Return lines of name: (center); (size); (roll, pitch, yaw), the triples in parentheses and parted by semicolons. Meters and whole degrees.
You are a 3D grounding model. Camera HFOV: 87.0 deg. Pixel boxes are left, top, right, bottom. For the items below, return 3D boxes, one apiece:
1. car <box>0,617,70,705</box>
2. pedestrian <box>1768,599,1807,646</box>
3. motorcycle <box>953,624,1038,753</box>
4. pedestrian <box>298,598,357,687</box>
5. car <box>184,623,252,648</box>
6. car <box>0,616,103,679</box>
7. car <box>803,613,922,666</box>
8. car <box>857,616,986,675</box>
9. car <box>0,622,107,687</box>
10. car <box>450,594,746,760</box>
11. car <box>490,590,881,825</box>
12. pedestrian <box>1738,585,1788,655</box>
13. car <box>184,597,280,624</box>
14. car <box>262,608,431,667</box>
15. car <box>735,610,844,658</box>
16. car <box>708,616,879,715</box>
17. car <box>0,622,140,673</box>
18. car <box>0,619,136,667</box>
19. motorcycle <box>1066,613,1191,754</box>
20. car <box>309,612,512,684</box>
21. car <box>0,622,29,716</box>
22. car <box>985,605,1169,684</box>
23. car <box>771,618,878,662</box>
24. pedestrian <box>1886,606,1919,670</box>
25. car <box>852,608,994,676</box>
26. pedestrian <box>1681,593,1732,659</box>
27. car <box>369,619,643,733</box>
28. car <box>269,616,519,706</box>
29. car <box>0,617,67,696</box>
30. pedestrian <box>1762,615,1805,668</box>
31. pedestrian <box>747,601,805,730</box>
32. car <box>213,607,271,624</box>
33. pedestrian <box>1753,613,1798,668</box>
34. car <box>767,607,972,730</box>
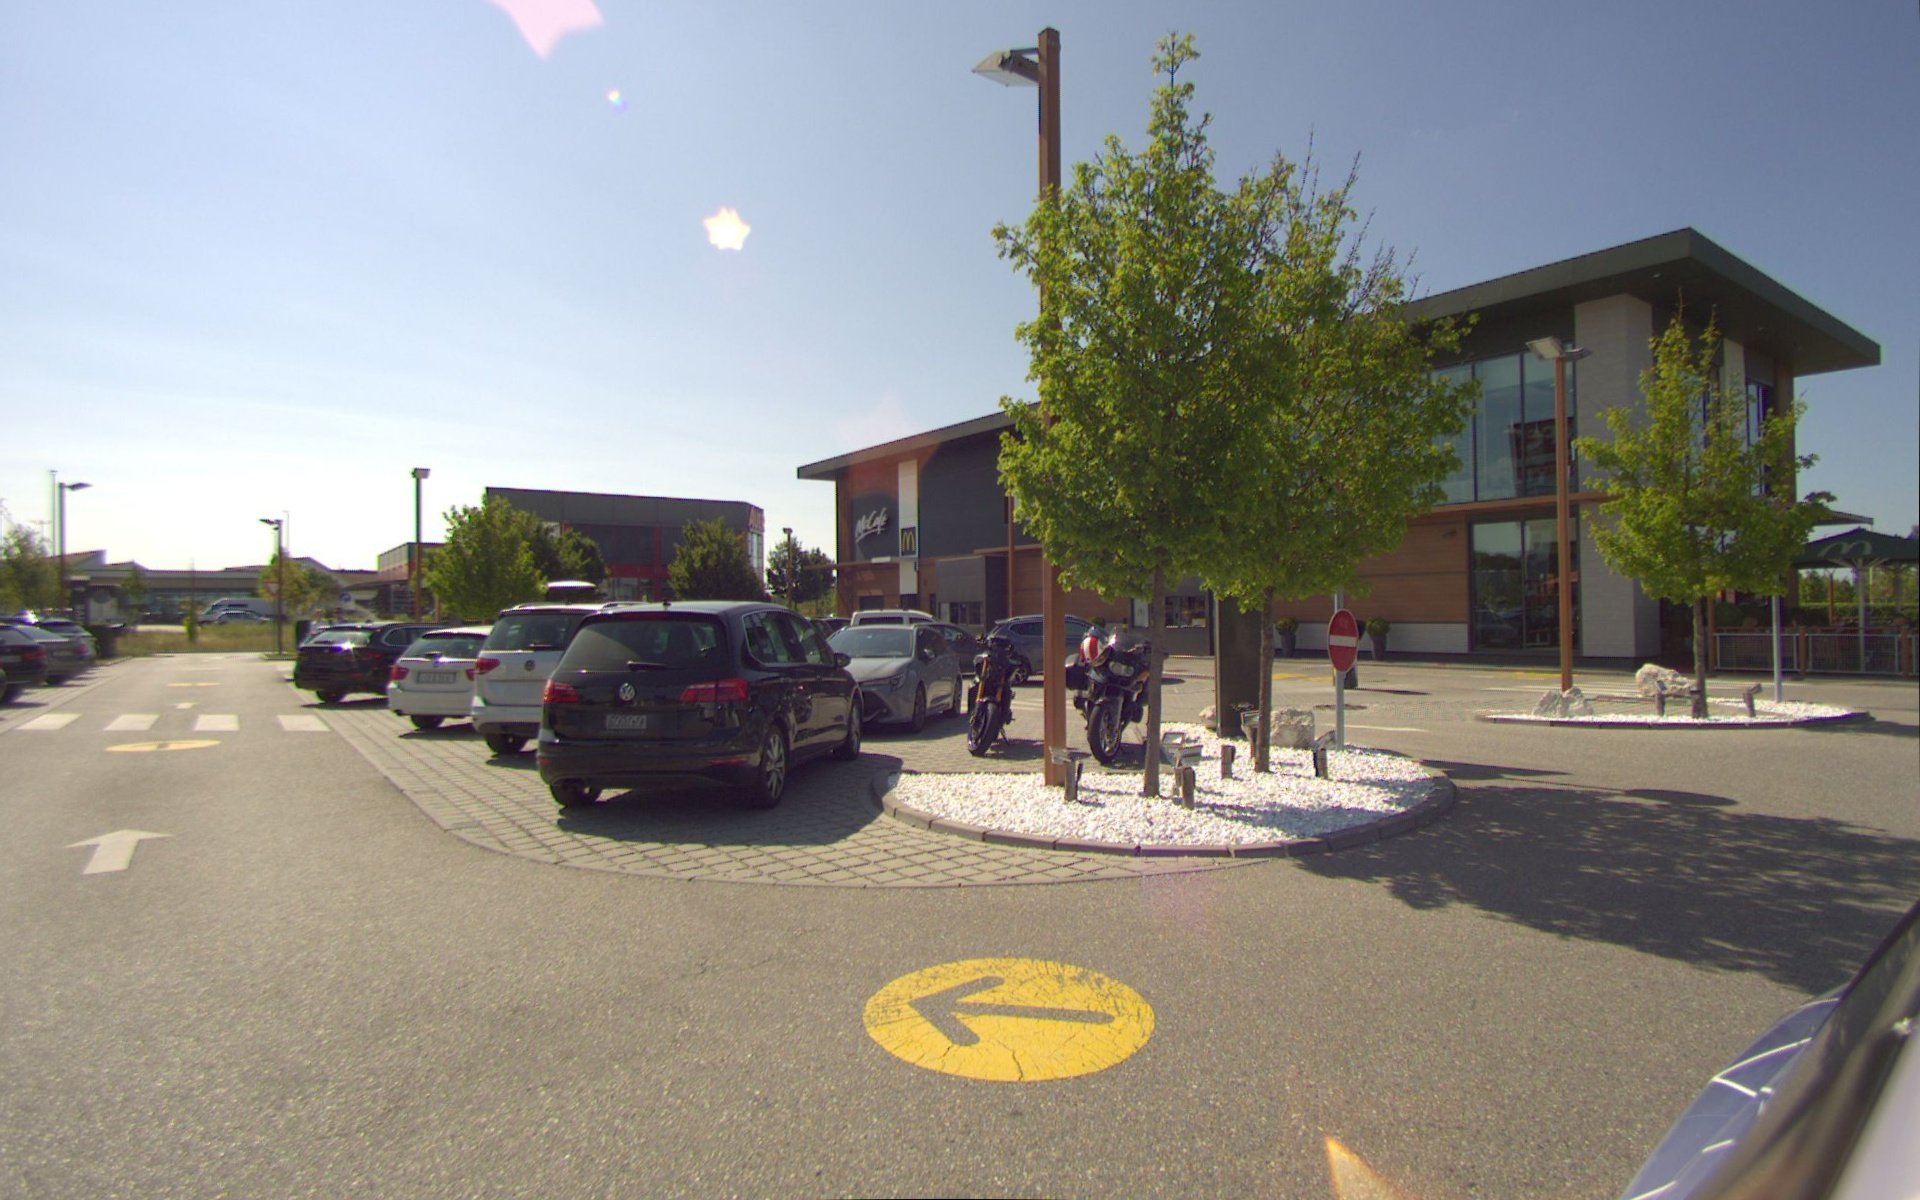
car: (-18.365, 1.067, 17.823); (3.928, 1.508, 1.818); (-1, -1, 4)
pedestrian: (20.000, 0.546, 24.451); (0.644, 1.115, 0.573); (1, -2, -38)
motorcycle: (0.370, 0.905, 11.011); (0.805, 1.247, 2.139); (-1, -2, 1)
pedestrian: (-14.202, 0.938, 22.757); (1.007, 1.940, 0.904); (0, -2, -24)
car: (-54.731, 2.597, 74.669); (3.930, 1.750, 1.891); (0, -1, -41)
car: (-25.145, 1.224, 26.414); (3.977, 1.576, 1.807); (0, -1, -1)
car: (-3.155, 1.254, 33.042); (3.769, 1.653, 1.759); (0, -1, -3)
car: (-1.002, 1.204, 27.374); (3.353, 1.501, 1.566); (-1, -1, 3)
car: (-22.764, 1.244, 23.625); (4.601, 1.429, 1.709); (-1, -1, 7)
car: (-4.126, 0.829, 12.321); (1.719, 1.661, 4.056); (-1, -1, 8)
car: (-2.049, 0.752, 8.935); (1.864, 1.556, 4.180); (-1, -1, 8)
pedestrian: (20.973, 0.524, 26.433); (0.894, 1.791, 0.790); (-2, -2, 45)
car: (-61.385, 0.879, 85.437); (6.450, 2.273, 2.299); (0, -1, -37)
car: (-16.129, 0.954, 26.852); (1.679, 1.444, 3.890); (-1, -1, 11)
car: (-6.540, 1.268, 38.759); (3.954, 1.727, 1.678); (-1, -1, -14)
car: (-2.927, 1.105, 18.651); (1.784, 1.614, 3.984); (-1, -1, 12)
car: (-26.722, 1.373, 29.660); (4.010, 1.441, 1.796); (0, -1, 2)
car: (-28.832, 1.364, 32.290); (3.711, 1.441, 1.909); (-1, -1, 7)
motorcycle: (1.663, 0.817, 10.454); (1.052, 1.267, 2.248); (-2, -3, 5)
car: (-12.778, 1.065, 23.894); (1.951, 1.530, 4.404); (-1, -1, 9)
car: (-16.467, 1.054, 15.112); (3.937, 1.421, 1.814); (-1, -1, 11)
car: (2.773, 1.039, 24.235); (4.156, 1.623, 1.787); (-3, 1, 8)
car: (-4.836, 1.396, 36.091); (3.695, 1.462, 1.677); (-1, -1, -8)
pedestrian: (19.018, 0.751, 20.192); (0.515, 1.274, 0.714); (1, -2, -40)
car: (-1.054, 1.225, 30.052); (4.069, 1.946, 1.756); (-1, -1, 3)
pedestrian: (18.600, 0.640, 25.215); (0.714, 1.604, 0.742); (0, -2, -27)
car: (-6.394, 1.007, 14.838); (1.764, 1.426, 4.071); (-1, -2, 8)
car: (-10.764, 1.080, 19.677); (1.951, 1.530, 4.404); (-1, -1, 9)
car: (-20.937, 1.131, 20.337); (4.265, 1.531, 1.780); (0, -1, -5)
pedestrian: (18.074, 0.905, 22.210); (0.515, 1.138, 0.633); (1, -2, -40)
pedestrian: (-2.542, 0.892, 14.018); (0.602, 1.735, 0.560); (-1, -2, 16)
car: (-59.130, 1.286, 83.367); (3.836, 1.359, 1.664); (0, -1, -37)
pedestrian: (17.551, 0.864, 21.786); (0.515, 1.138, 0.633); (1, -2, -40)
car: (-1.087, 0.922, 14.534); (1.806, 1.466, 4.647); (-1, -2, 10)
